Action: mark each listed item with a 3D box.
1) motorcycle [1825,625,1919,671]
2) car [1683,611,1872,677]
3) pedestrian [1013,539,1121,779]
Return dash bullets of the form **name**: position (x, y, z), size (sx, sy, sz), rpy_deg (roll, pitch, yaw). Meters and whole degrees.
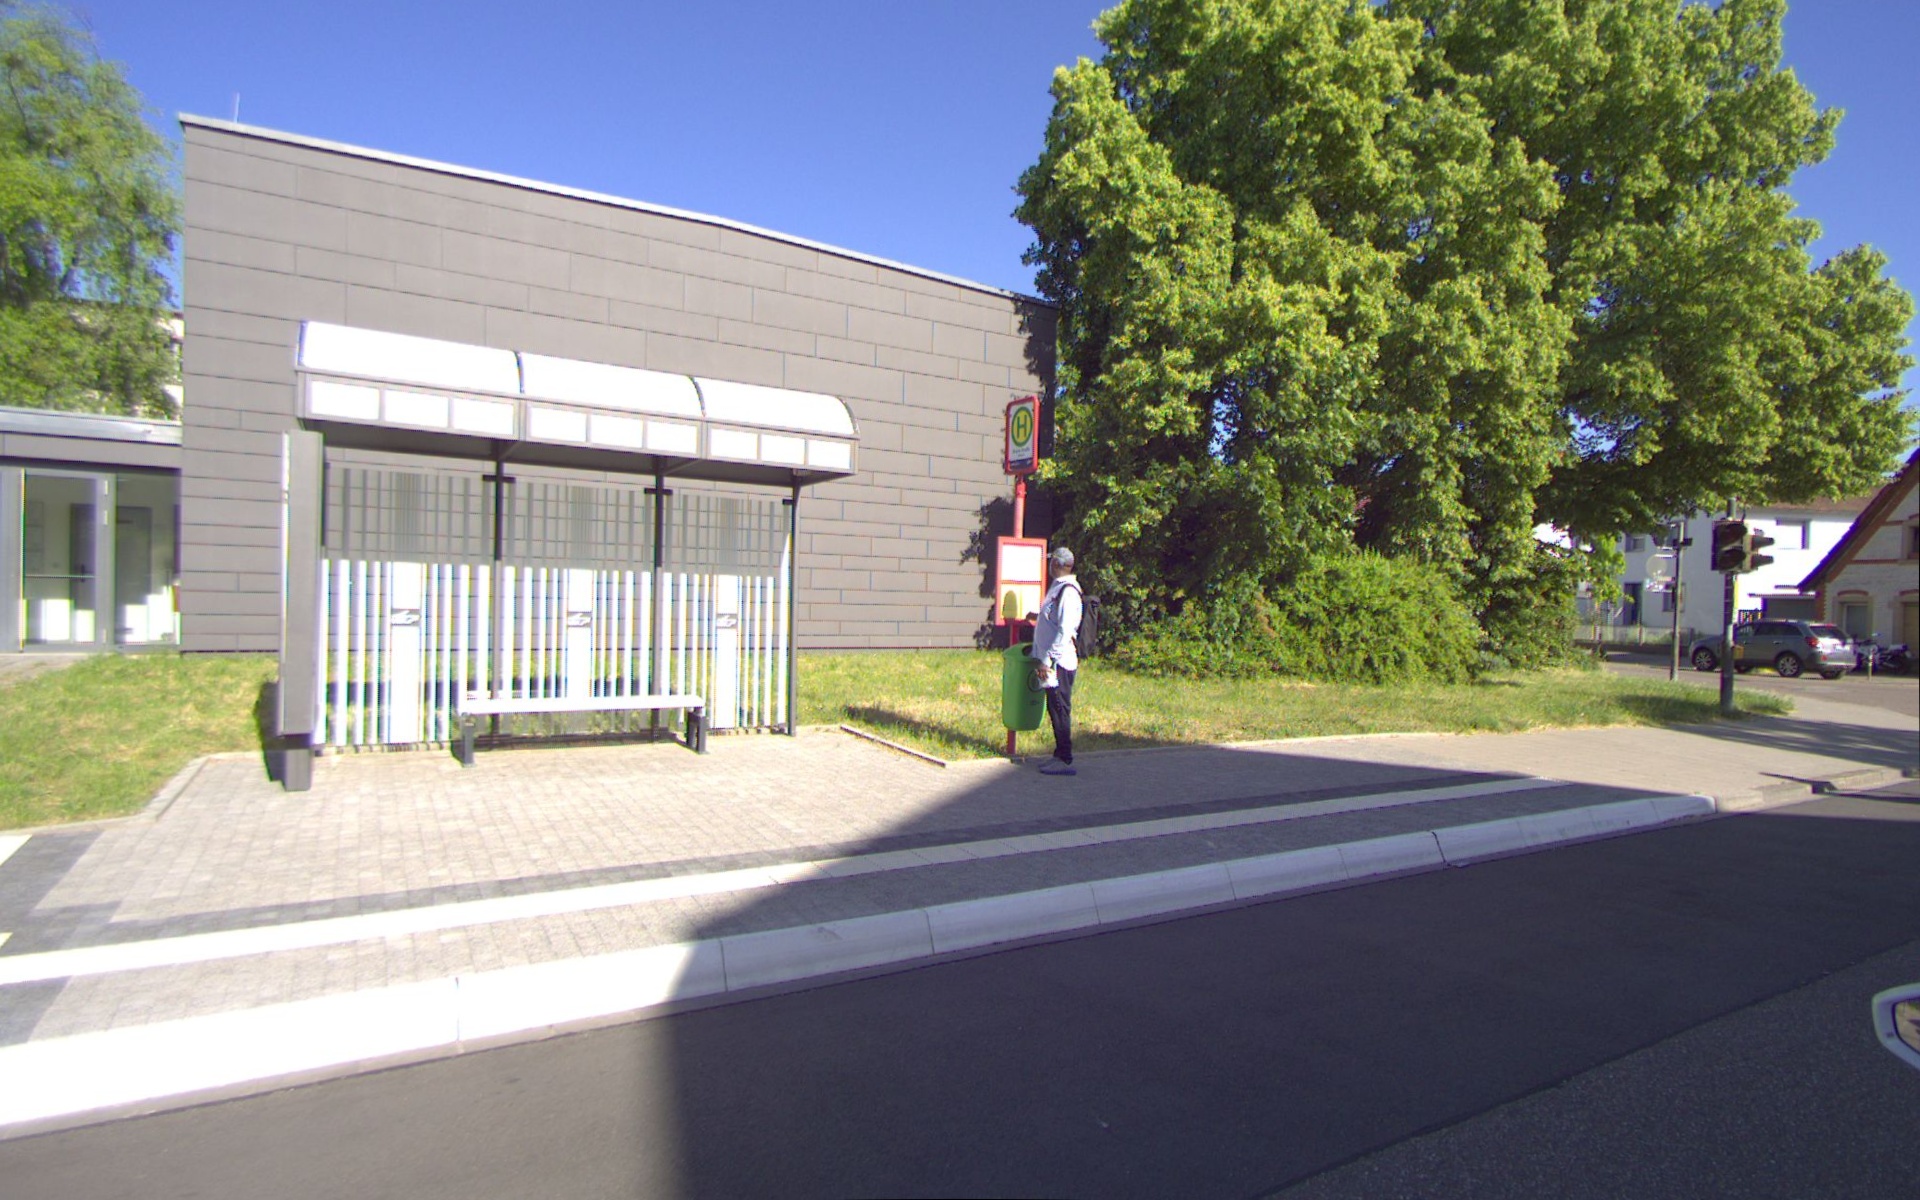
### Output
- **motorcycle**: position (28.868, 1.501, 31.766), size (0.867, 1.313, 2.245), rpy_deg (-1, 0, -10)
- **car**: position (25.248, 1.302, 31.239), size (1.913, 1.748, 4.222), rpy_deg (2, 0, -14)
- **pedestrian**: position (0.869, 0.440, 8.126), size (0.755, 1.827, 0.718), rpy_deg (2, 3, 7)
